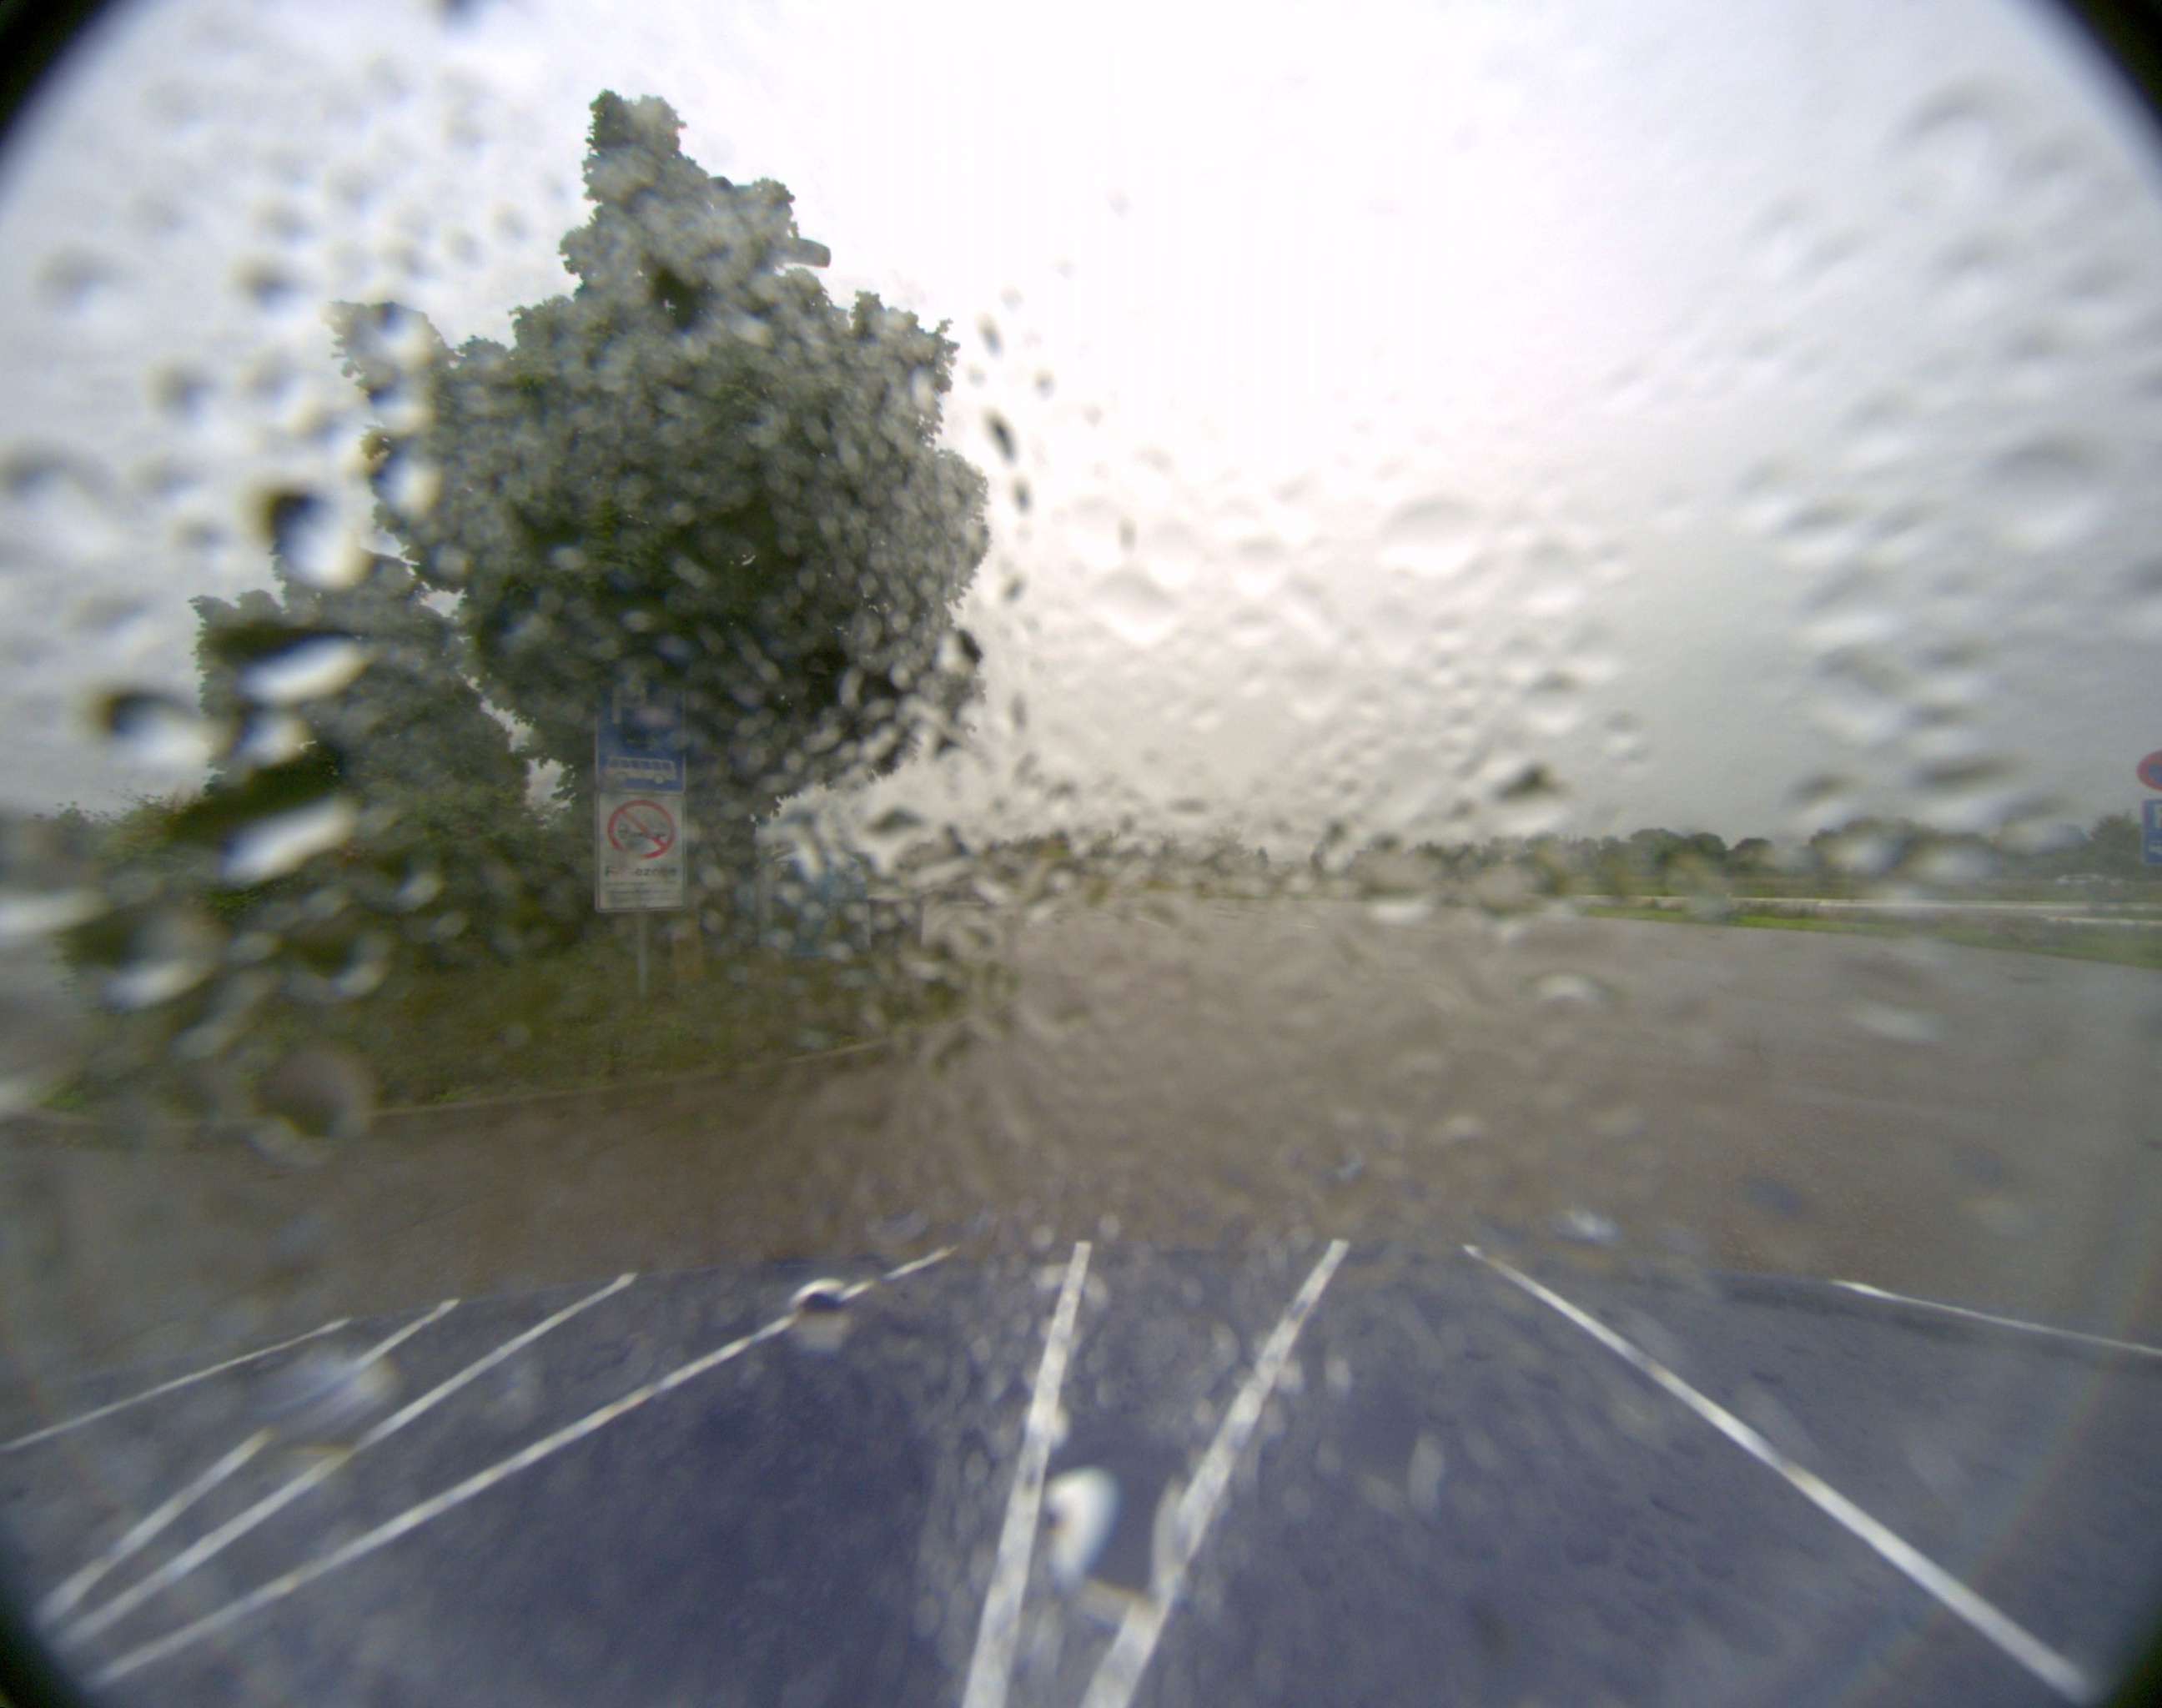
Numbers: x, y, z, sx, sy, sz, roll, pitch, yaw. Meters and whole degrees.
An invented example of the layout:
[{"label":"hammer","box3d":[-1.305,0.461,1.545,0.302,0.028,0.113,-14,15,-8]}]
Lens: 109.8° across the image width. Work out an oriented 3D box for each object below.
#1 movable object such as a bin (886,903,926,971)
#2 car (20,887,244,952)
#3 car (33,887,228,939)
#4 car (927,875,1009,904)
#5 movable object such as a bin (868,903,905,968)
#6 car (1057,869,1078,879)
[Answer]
[{"label":"movable object such as a bin","box3d":[-2.531,1.180,10.964,0.451,0.933,0.488,0,-1,-27]},{"label":"car","box3d":[-28.278,1.888,22.892,1.781,1.618,4.103,0,-1,42]},{"label":"car","box3d":[-32.514,1.974,26.211,1.761,1.488,4.103,0,-1,42]},{"label":"car","box3d":[-5.863,1.810,39.208,4.080,1.425,1.778,0,-1,-13]},{"label":"movable object such as a bin","box3d":[-2.913,1.204,11.365,0.451,0.911,0.488,0,-1,-27]},{"label":"car","box3d":[-2.107,3.089,115.843,1.590,1.444,3.747,0,-2,-31]}]
